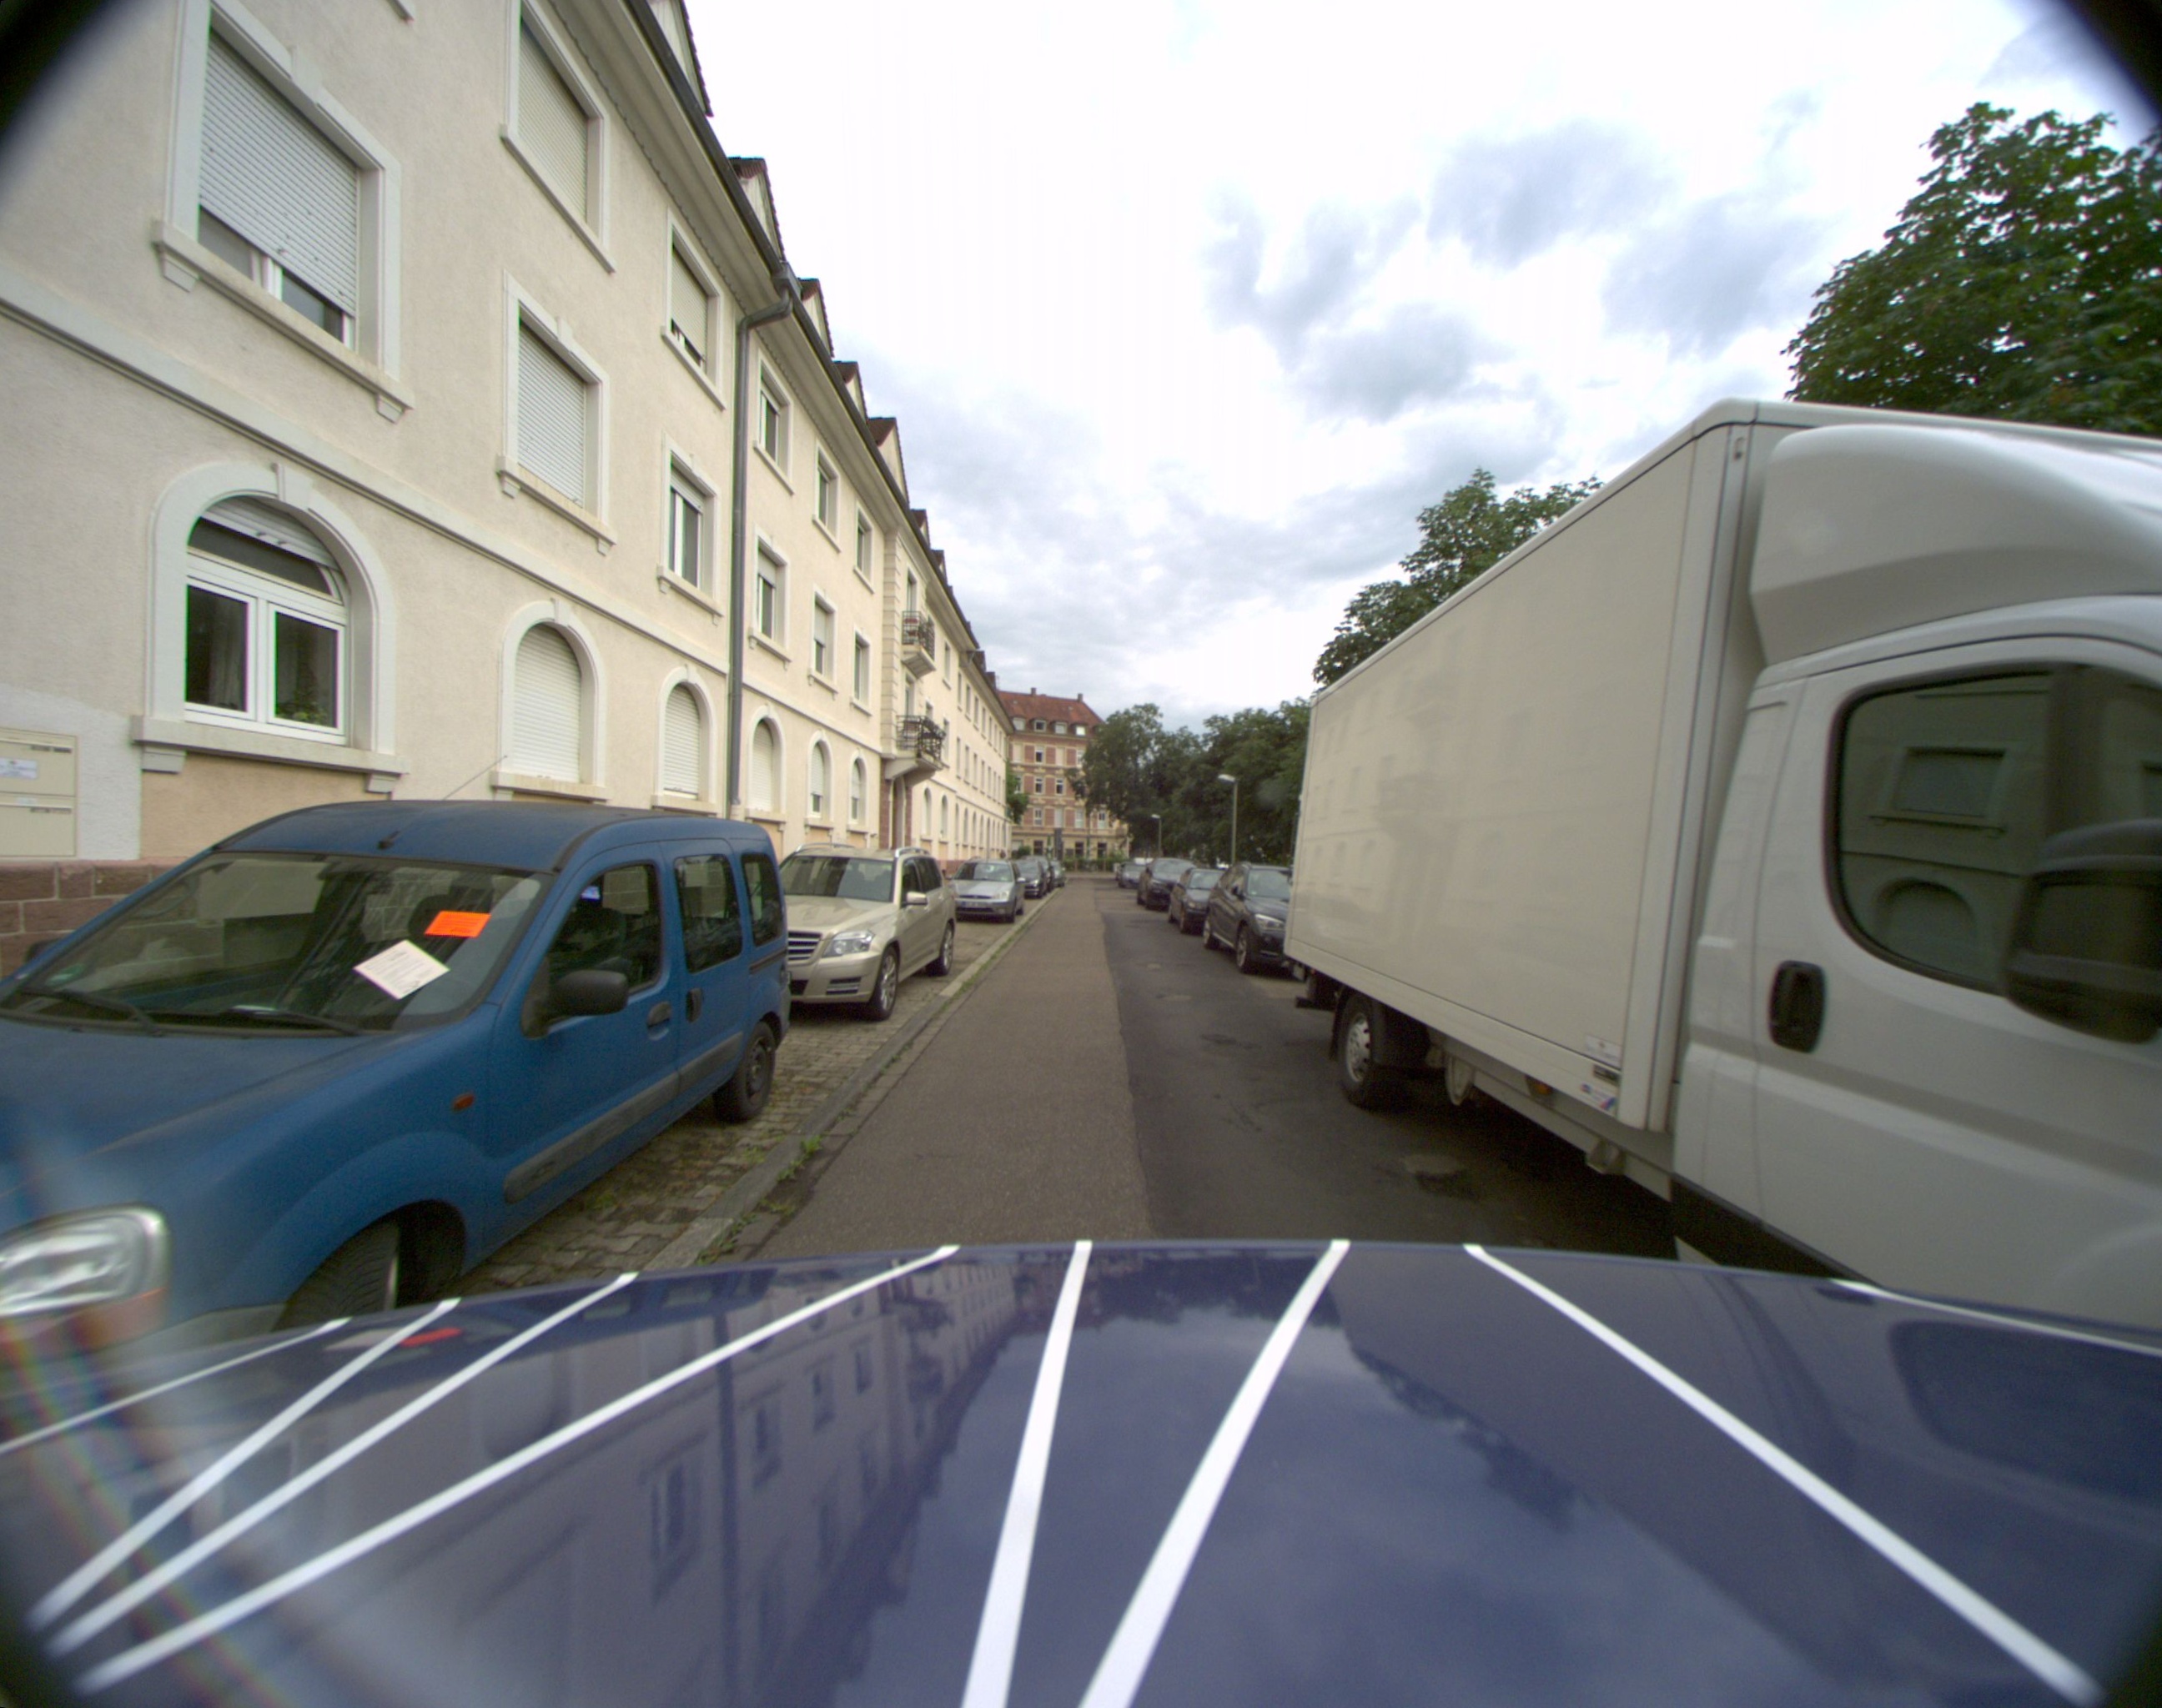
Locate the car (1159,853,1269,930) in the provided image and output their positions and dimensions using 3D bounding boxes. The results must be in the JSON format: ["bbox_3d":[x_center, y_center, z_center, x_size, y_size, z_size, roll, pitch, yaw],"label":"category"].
[{"bbox_3d":[2.827,0.731,17.045,1.643,1.505,4.151,1,0,-1],"label":"car"}]

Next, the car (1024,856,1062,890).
[{"bbox_3d":[-1.848,0.905,37.613,1.609,1.575,4.010,0,0,1],"label":"car"}]

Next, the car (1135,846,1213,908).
[{"bbox_3d":[2.884,0.677,24.433,1.785,1.697,4.314,4,0,-1],"label":"car"}]

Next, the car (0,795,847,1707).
[{"bbox_3d":[-2.653,0.757,3.187,1.943,1.775,4.186,2,0,1],"label":"car"}]

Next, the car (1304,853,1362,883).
[{"bbox_3d":[14.141,0.748,42.853,1.969,1.630,4.006,-1,0,1],"label":"car"}]

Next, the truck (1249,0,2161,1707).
[{"bbox_3d":[2.821,0.167,3.302,2.444,2.940,7.112,5,0,1],"label":"truck"}]

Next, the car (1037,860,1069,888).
[{"bbox_3d":[-1.512,1.055,42.358,1.455,1.388,4.010,4,0,1],"label":"car"}]

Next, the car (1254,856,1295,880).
[{"bbox_3d":[14.155,0.992,55.803,1.969,1.630,4.006,-1,0,1],"label":"car"}]

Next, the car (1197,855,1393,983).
[{"bbox_3d":[3.004,0.820,11.613,1.643,1.505,4.151,4,0,-1],"label":"car"}]

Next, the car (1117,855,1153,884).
[{"bbox_3d":[3.046,0.861,43.472,1.643,1.570,4.208,0,0,-1],"label":"car"}]

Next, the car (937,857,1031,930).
[{"bbox_3d":[-2.290,0.885,18.869,1.686,1.505,3.954,4,0,1],"label":"car"}]

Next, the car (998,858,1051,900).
[{"bbox_3d":[-2.137,0.920,29.540,1.609,1.392,4.010,4,0,1],"label":"car"}]

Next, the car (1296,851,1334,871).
[{"bbox_3d":[19.911,0.590,64.823,1.969,1.630,4.006,-1,0,1],"label":"car"}]

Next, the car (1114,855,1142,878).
[{"bbox_3d":[3.539,0.905,57.467,1.643,1.570,4.208,4,0,-1],"label":"car"}]

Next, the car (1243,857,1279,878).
[{"bbox_3d":[14.454,1.046,61.191,1.969,1.630,4.006,-1,0,1],"label":"car"}]

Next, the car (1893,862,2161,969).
[{"bbox_3d":[19.044,1.063,14.919,1.804,1.664,4.101,-3,0,1],"label":"car"}]

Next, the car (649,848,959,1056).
[{"bbox_3d":[-2.641,0.824,8.399,1.775,1.628,4.128,4,0,1],"label":"car"}]
